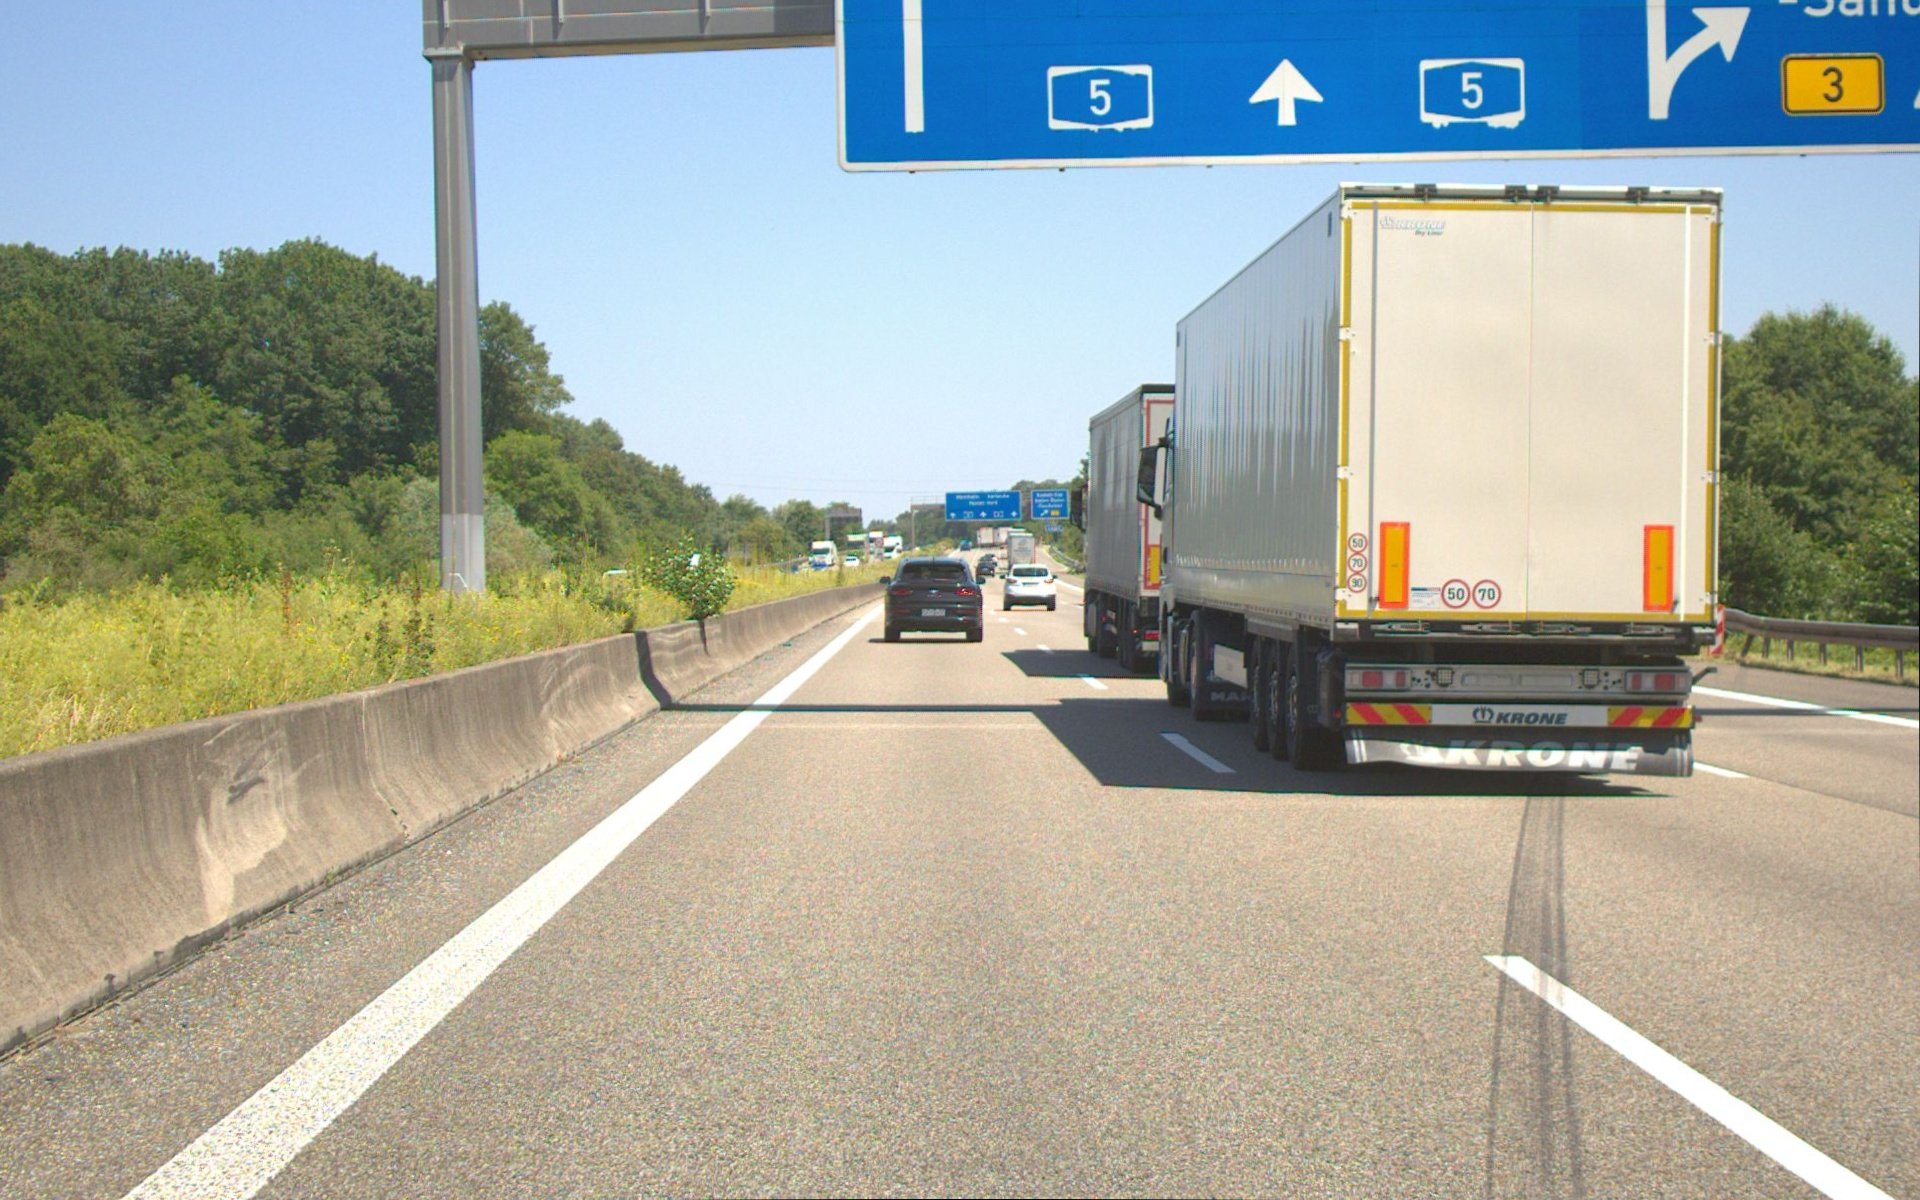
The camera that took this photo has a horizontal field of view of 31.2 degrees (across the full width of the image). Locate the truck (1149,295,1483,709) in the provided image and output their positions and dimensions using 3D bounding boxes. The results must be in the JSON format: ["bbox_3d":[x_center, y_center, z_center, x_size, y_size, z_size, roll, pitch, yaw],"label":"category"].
[{"bbox_3d":[3.606,-0.995,36.216,2.799,3.993,6.021,0,1,-1],"label":"truck"}]

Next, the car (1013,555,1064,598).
[{"bbox_3d":[2.779,-0.857,122.792,1.740,1.481,4.000,0,1,0],"label":"car"}]

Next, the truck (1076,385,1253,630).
[{"bbox_3d":[3.521,-1.569,60.578,2.700,4.080,6.453,0,0,0],"label":"truck"}]

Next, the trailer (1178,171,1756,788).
[{"bbox_3d":[3.709,-0.884,28.730,2.794,4.021,12.568,0,1,-1],"label":"trailer"}]

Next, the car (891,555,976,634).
[{"bbox_3d":[-0.562,-0.129,70.270,1.660,1.544,3.783,-1,0,-1],"label":"car"}]

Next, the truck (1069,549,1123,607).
[{"bbox_3d":[5.689,-0.944,144.118,1.993,2.365,4.645,0,1,-1],"label":"truck"}]

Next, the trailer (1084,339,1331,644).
[{"bbox_3d":[3.565,-1.498,53.203,2.707,4.054,14.746,0,0,0],"label":"trailer"}]
